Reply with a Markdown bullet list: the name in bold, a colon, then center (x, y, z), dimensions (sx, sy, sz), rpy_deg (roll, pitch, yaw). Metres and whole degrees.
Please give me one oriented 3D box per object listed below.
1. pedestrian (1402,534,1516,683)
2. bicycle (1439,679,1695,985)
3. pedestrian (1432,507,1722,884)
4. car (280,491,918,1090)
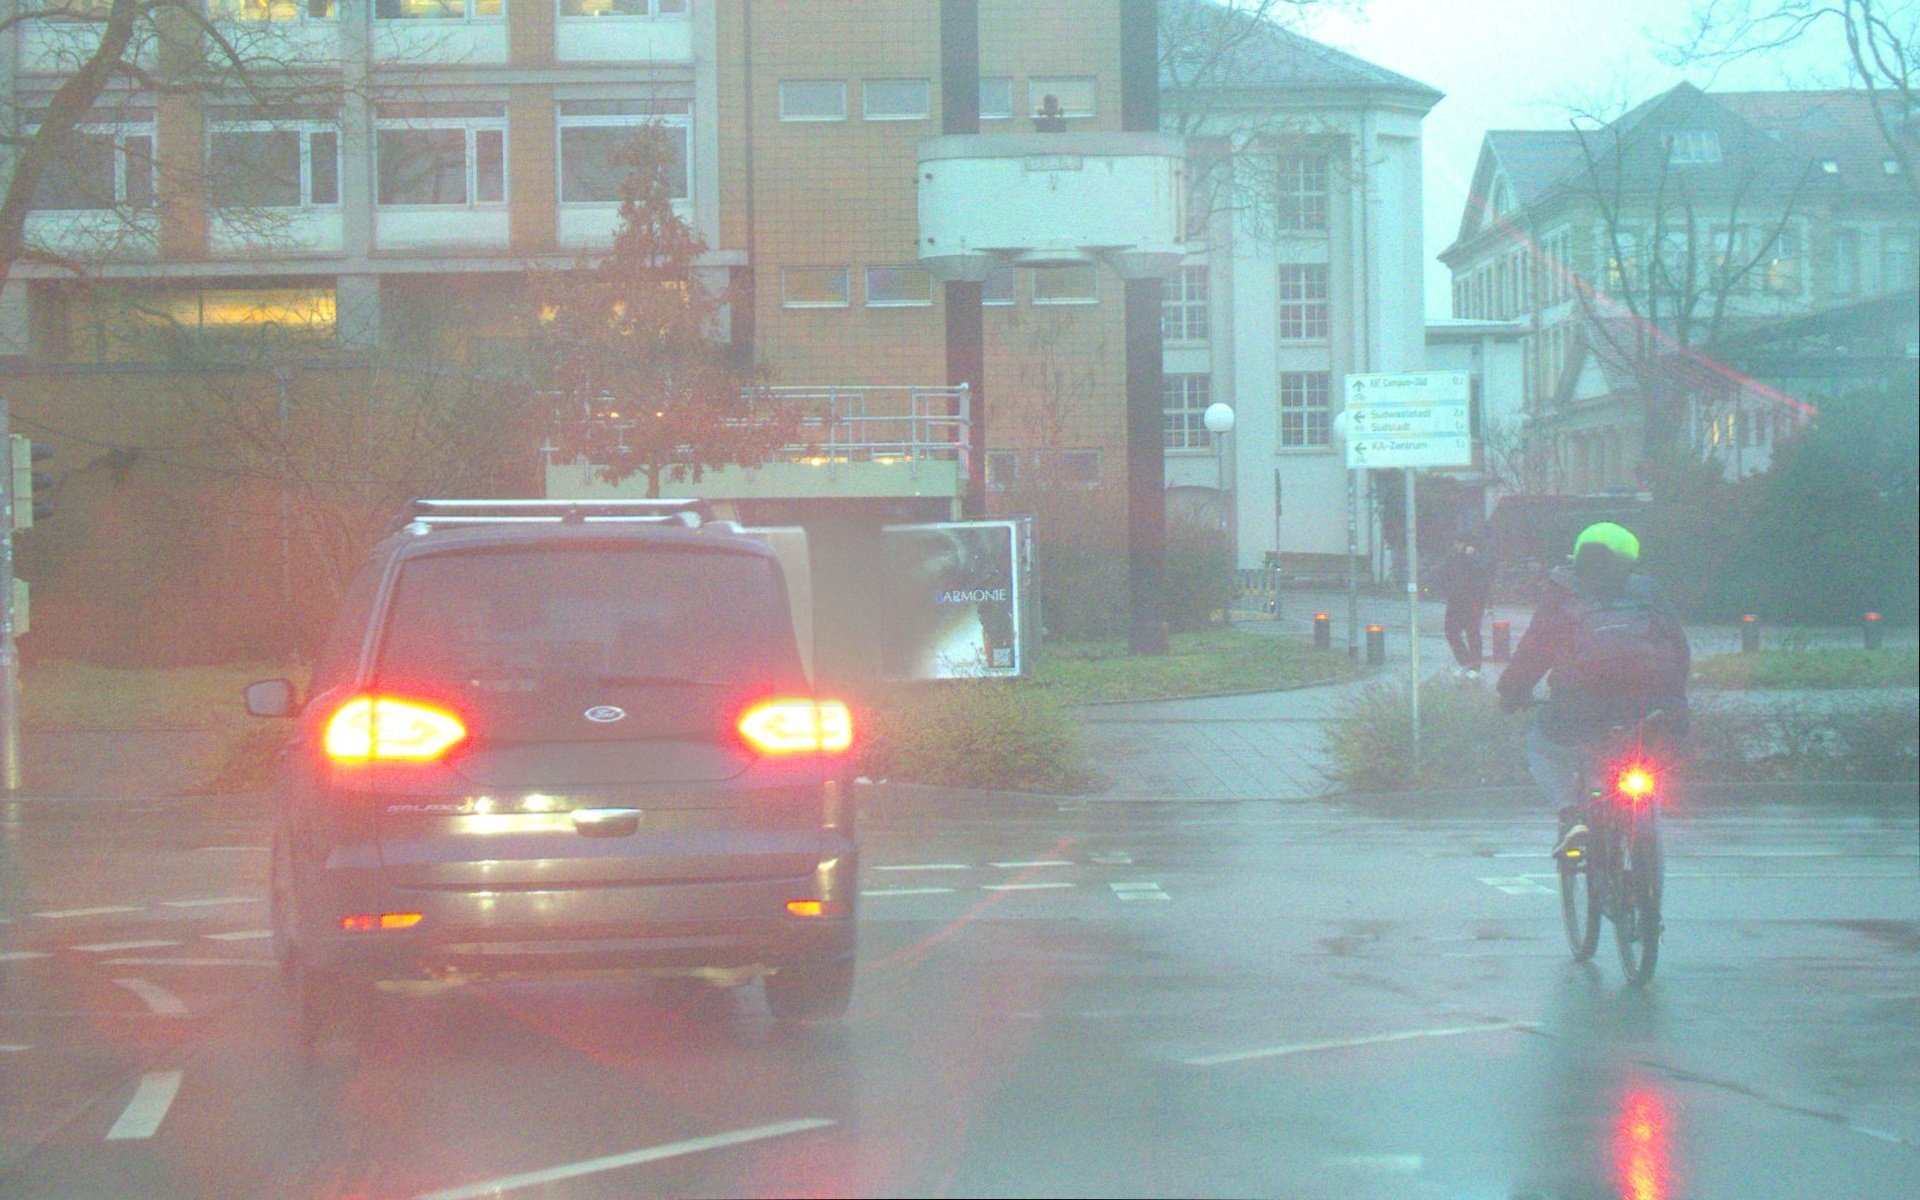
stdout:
- **pedestrian**: center (5.838, 0.086, 40.256), dimensions (0.925, 1.682, 0.912), rpy_deg (-2, 3, -37)
- **bicycle**: center (2.246, 0.828, 12.945), dimensions (0.561, 0.943, 2.095), rpy_deg (-2, 1, 0)
- **pedestrian**: center (2.244, 0.330, 12.603), dimensions (0.874, 1.312, 0.848), rpy_deg (-2, 1, 0)
- **car**: center (-1.507, 0.563, 12.642), dimensions (1.777, 1.794, 4.426), rpy_deg (0, 0, -13)
